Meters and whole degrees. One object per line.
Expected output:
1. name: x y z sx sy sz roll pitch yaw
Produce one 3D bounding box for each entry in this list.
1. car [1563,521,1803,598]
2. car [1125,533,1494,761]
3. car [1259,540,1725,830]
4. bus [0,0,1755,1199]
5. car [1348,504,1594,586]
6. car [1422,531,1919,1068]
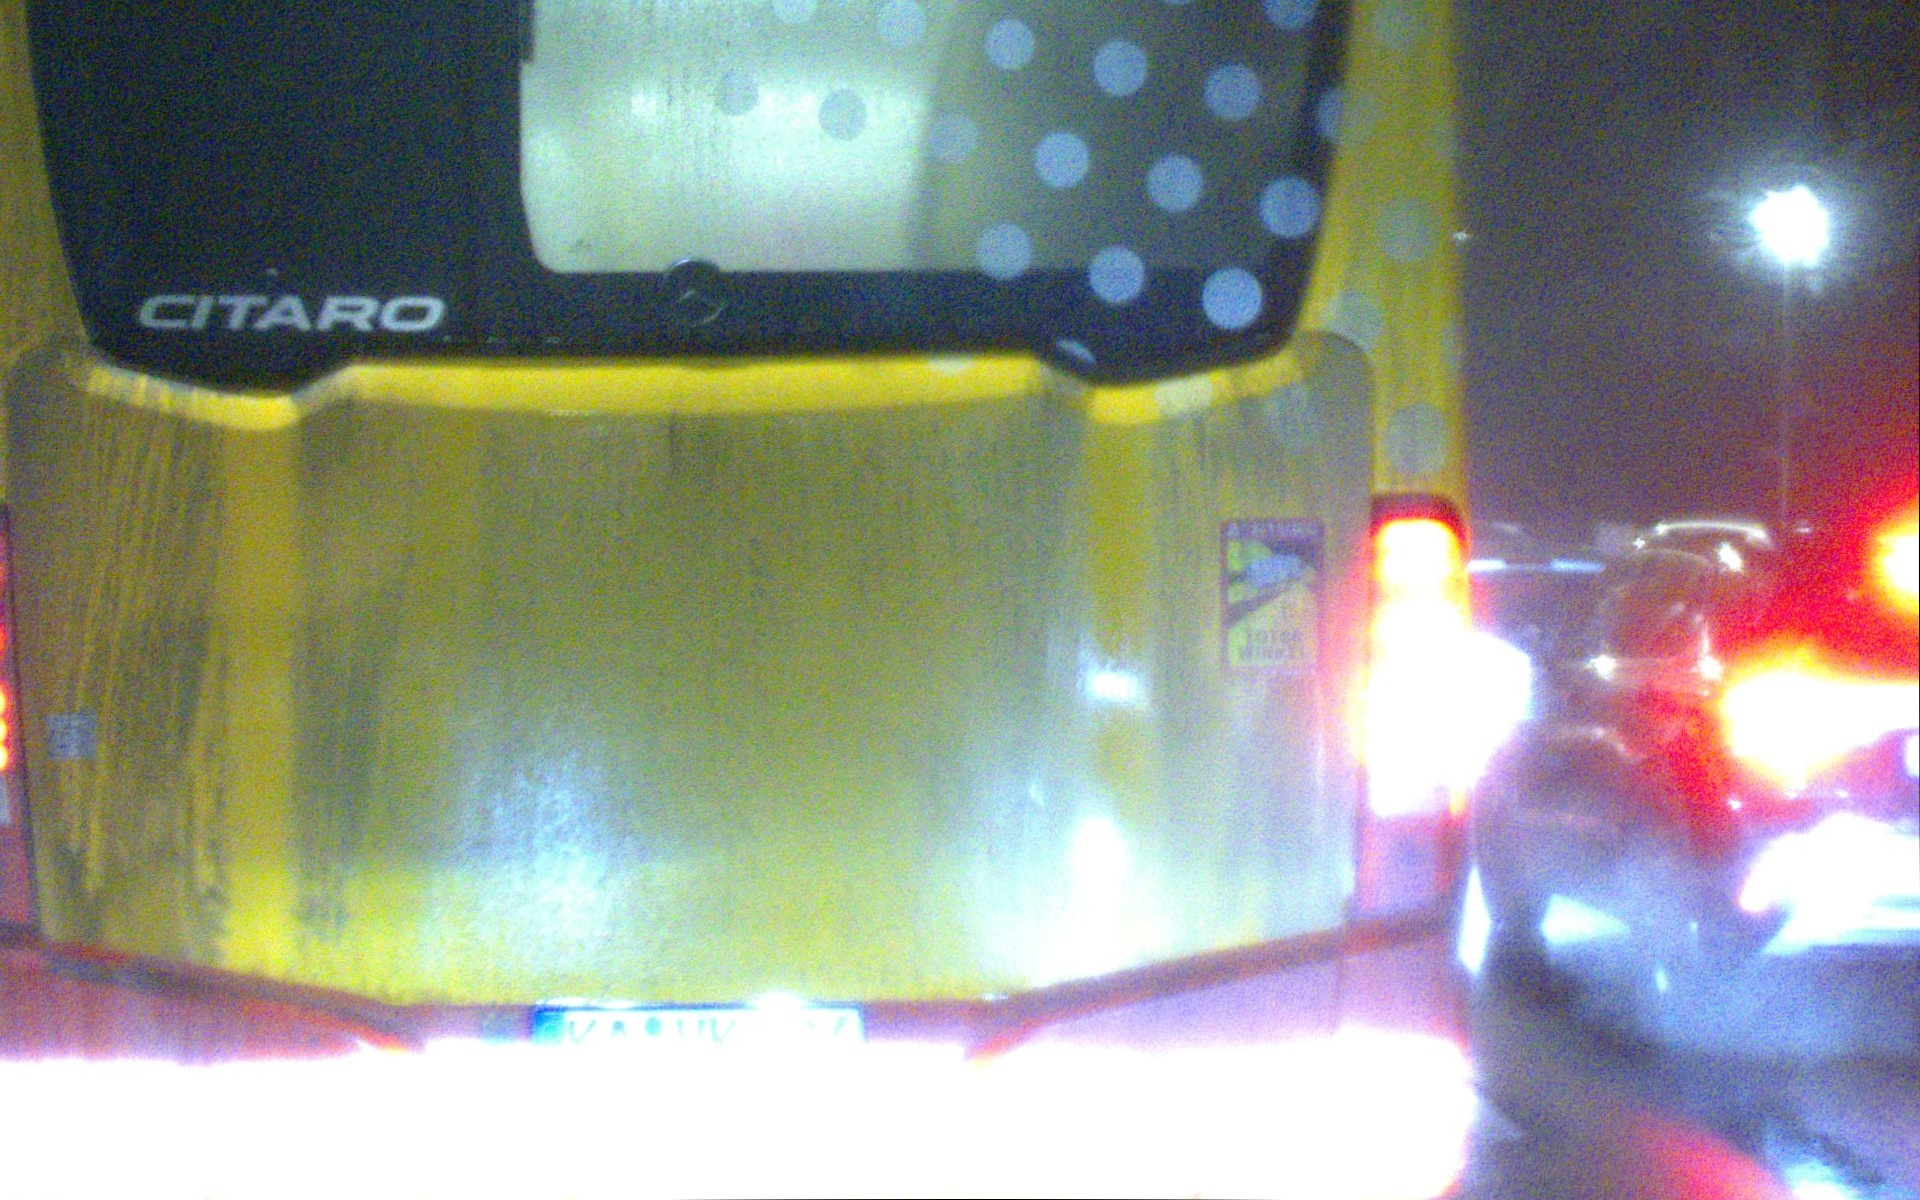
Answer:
1. car: 13.658 -0.775 65.049 4.041 1.341 1.748 1 3 -8
2. car: 2.327 0.279 23.945 1.993 1.436 4.000 1 1 -2
3. car: 2.635 0.362 17.885 1.686 1.326 3.961 -1 1 -2
4. bus: -0.638 -0.316 9.867 3.285 3.039 9.546 -1 2 -2
5. car: 10.177 -1.107 68.672 4.482 1.513 1.858 1 3 -8
6. car: 2.795 0.551 11.741 1.677 1.516 3.961 1 1 -3
